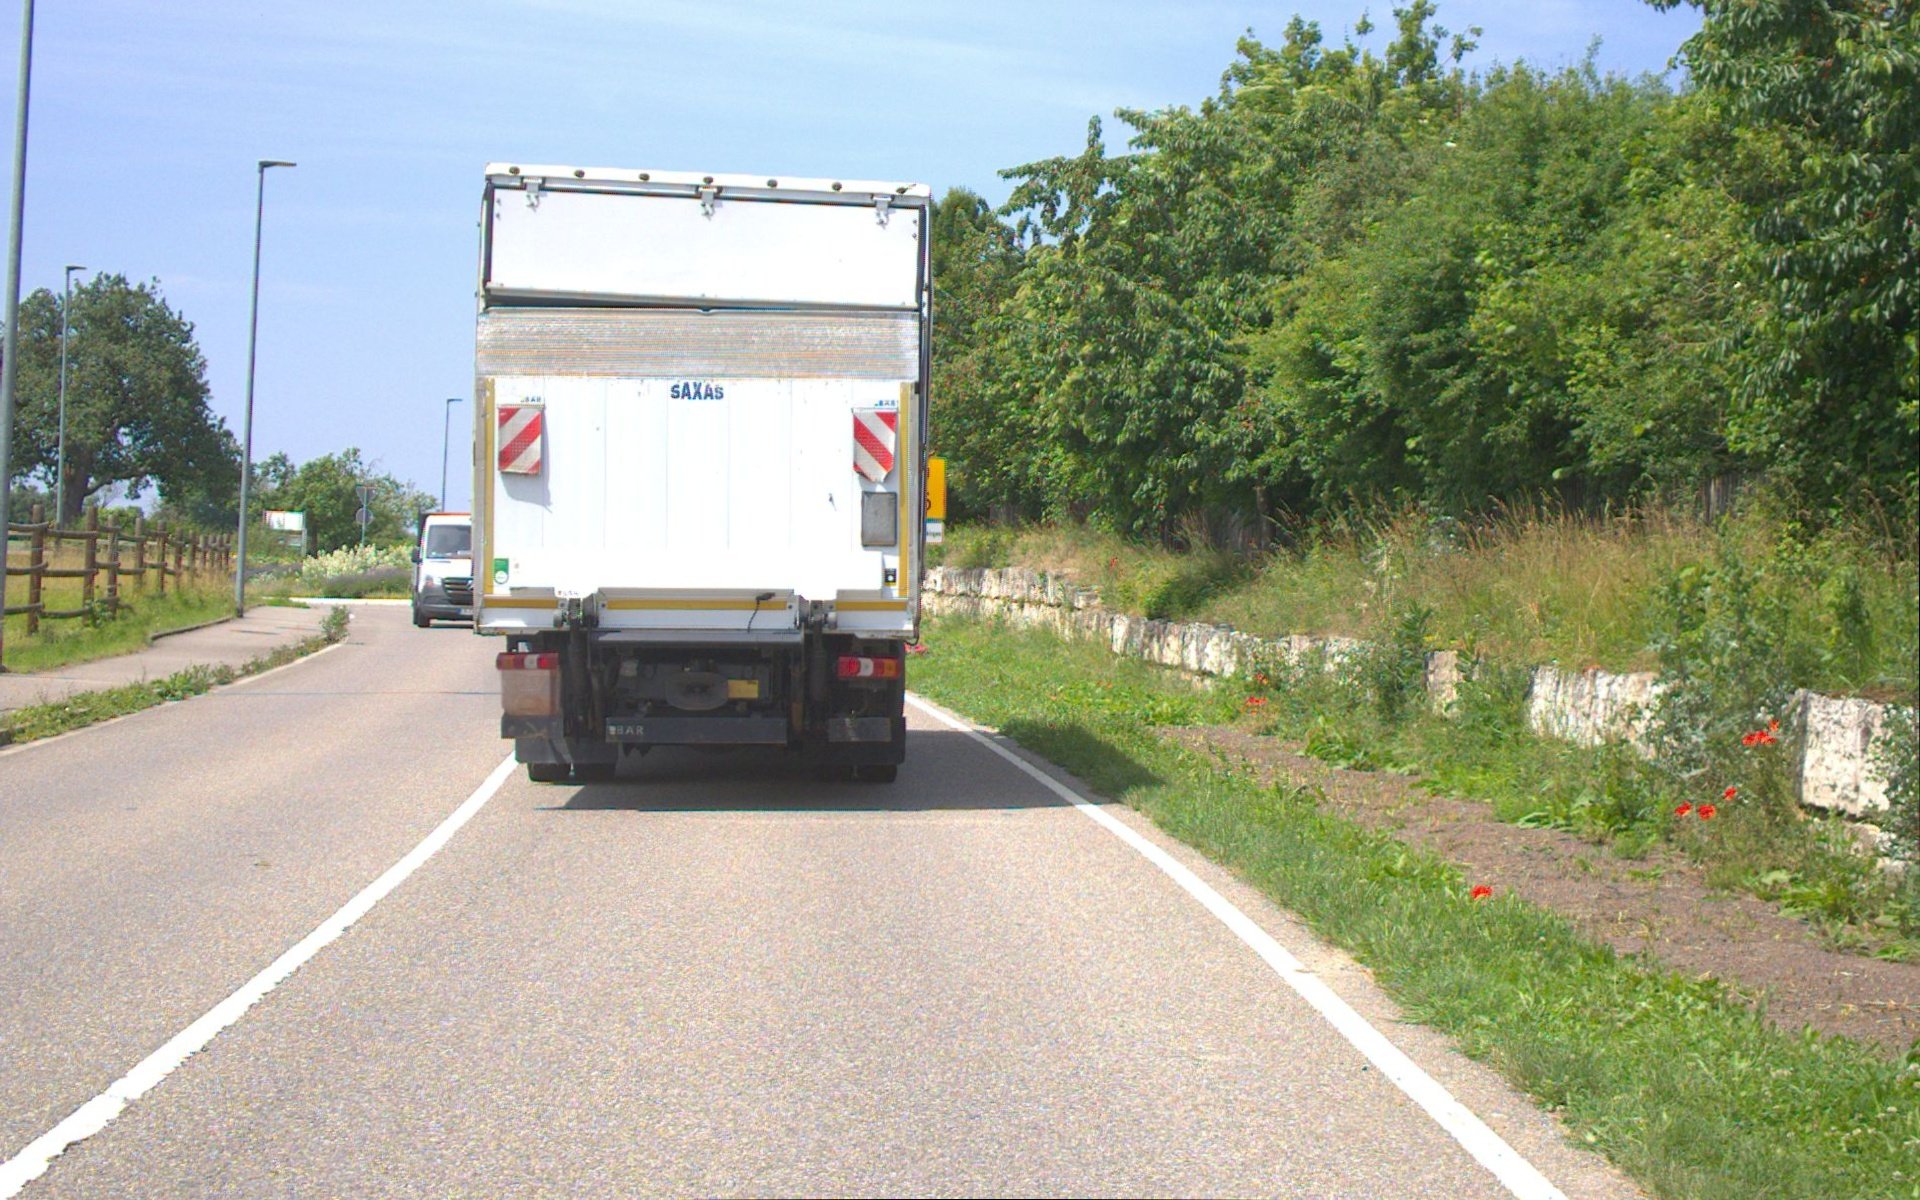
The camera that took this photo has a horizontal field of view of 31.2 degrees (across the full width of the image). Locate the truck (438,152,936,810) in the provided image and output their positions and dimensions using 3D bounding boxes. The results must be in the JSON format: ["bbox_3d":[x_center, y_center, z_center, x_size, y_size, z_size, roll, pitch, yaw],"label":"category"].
[{"bbox_3d":[-1.667,-0.712,23.857,2.766,3.658,9.383,0,1,-2],"label":"truck"}]

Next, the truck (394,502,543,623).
[{"bbox_3d":[-9.968,-0.752,69.323,2.221,2.285,6.494,1,0,-15],"label":"truck"}]
